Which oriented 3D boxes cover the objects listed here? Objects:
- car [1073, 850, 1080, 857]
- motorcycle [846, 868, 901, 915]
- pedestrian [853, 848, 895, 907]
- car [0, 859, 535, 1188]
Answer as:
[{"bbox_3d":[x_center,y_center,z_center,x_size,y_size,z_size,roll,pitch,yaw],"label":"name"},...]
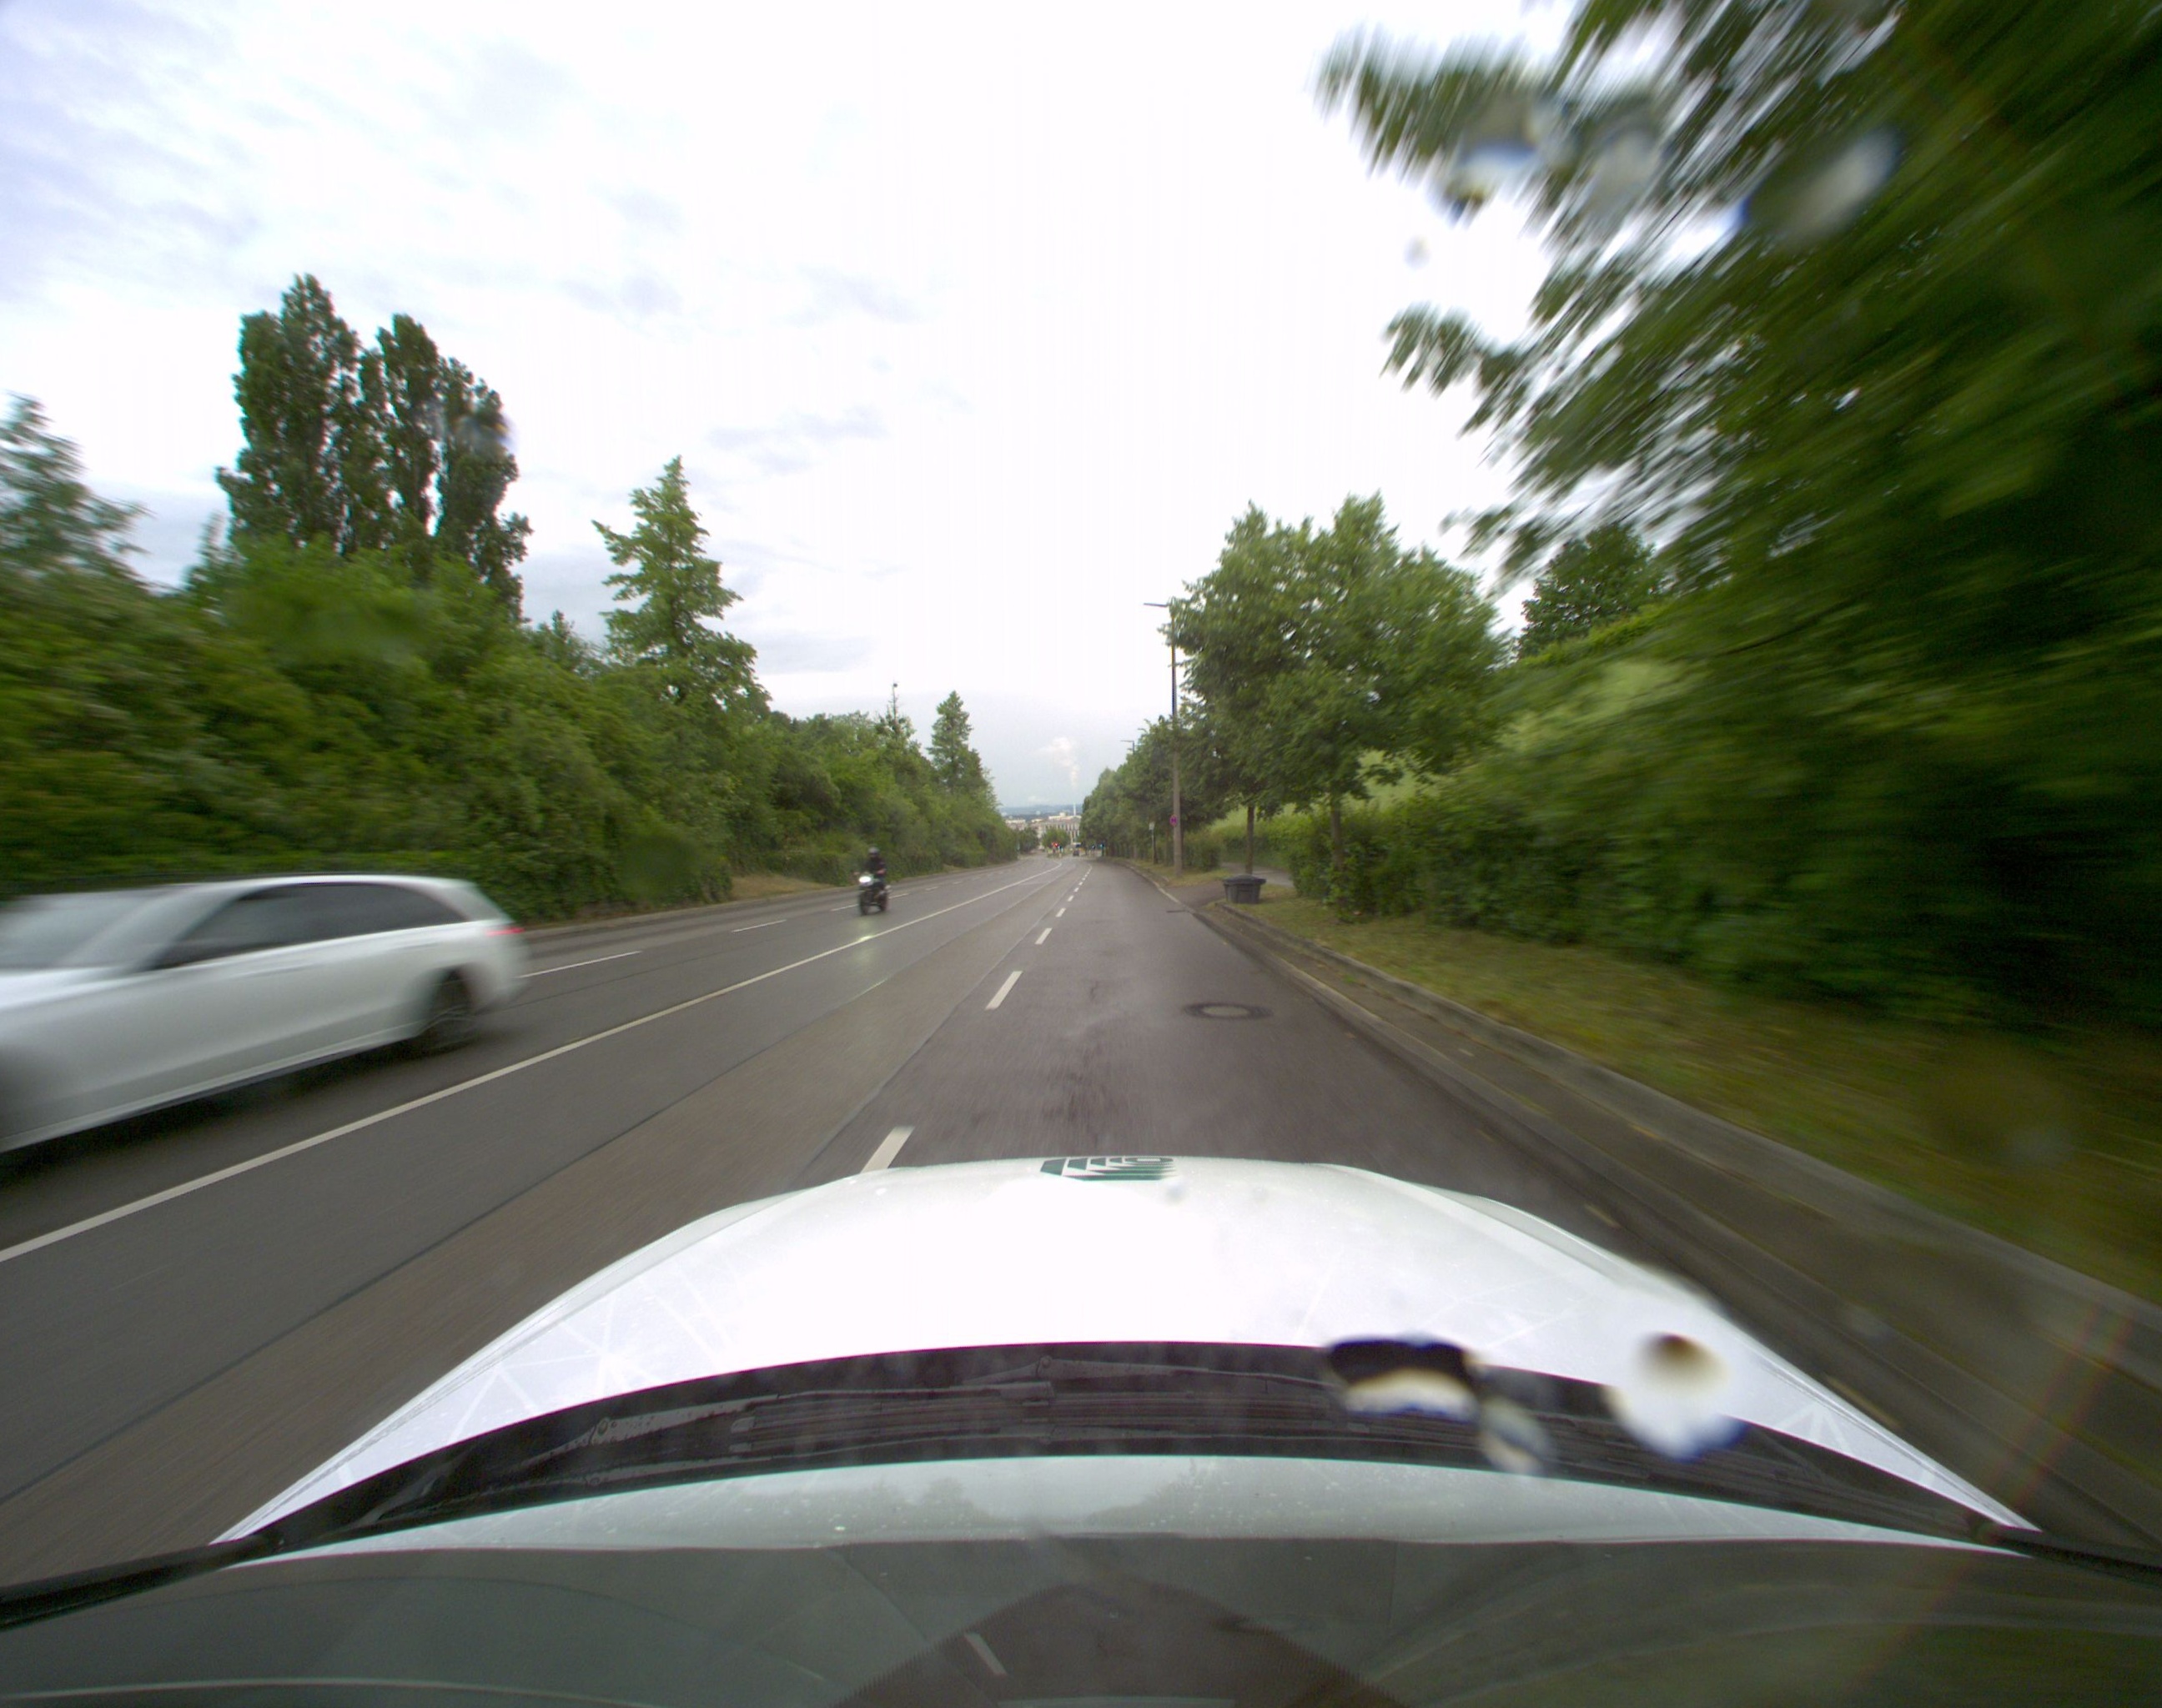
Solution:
[{"bbox_3d":[-1.123,-0.063,222.213,1.844,1.702,3.791,0,-1,-1],"label":"car"},{"bbox_3d":[-5.528,0.975,21.833,0.802,1.131,2.232,-1,0,2],"label":"motorcycle"},{"bbox_3d":[-5.532,0.616,21.854,0.802,1.541,1.111,-1,0,1],"label":"pedestrian"},{"bbox_3d":[-5.864,0.807,5.119,1.708,1.505,4.518,0,0,2],"label":"car"}]
